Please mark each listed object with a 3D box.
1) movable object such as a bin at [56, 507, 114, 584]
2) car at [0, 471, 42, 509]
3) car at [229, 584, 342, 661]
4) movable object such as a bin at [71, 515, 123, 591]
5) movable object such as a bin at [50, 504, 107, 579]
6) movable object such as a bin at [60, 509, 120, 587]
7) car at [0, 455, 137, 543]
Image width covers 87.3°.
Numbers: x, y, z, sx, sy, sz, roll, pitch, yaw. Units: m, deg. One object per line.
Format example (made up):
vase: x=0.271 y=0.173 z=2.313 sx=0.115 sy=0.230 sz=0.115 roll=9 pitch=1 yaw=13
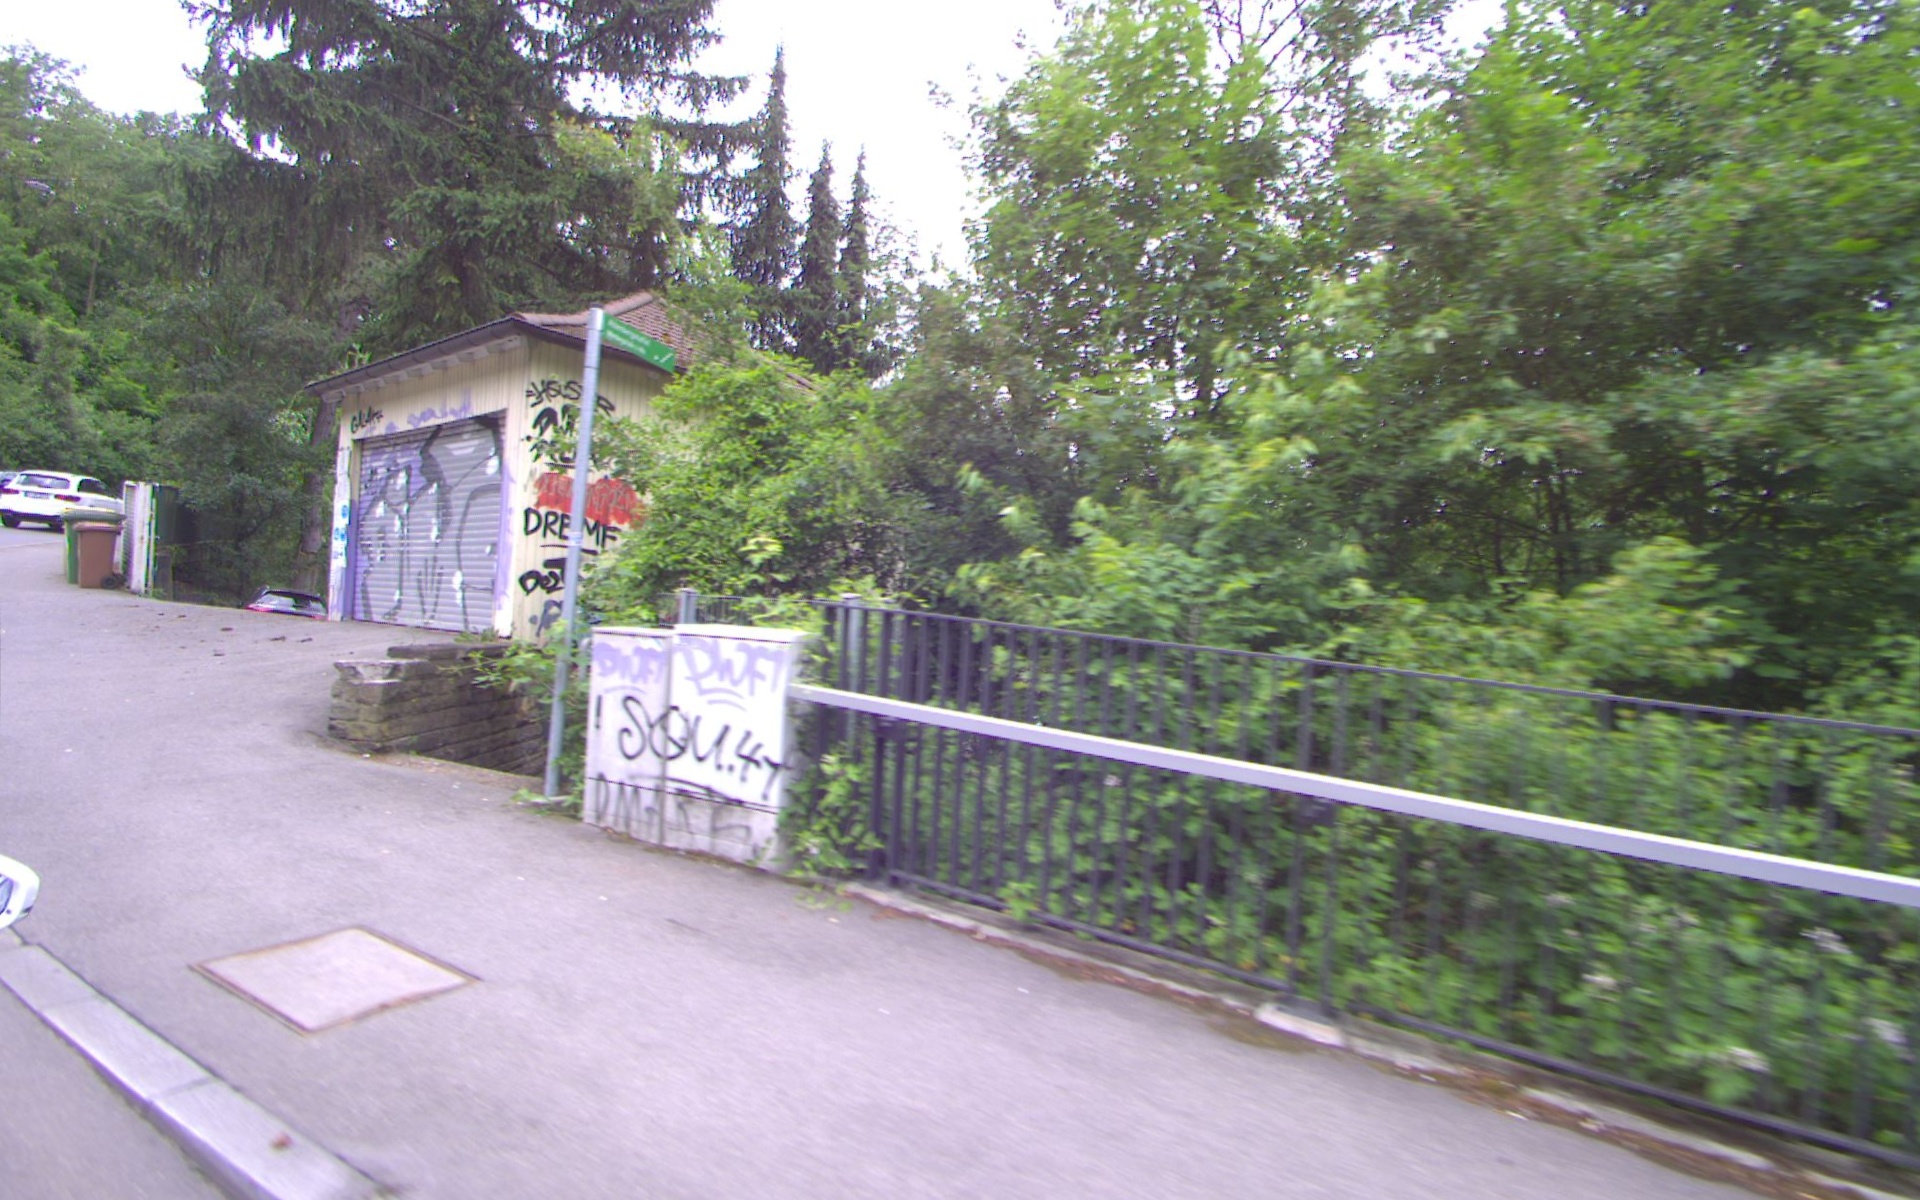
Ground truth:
movable object such as a bin: x=-13.201 y=-0.818 z=15.179 sx=0.473 sy=1.075 sz=0.601 roll=10 pitch=6 yaw=42
car: x=-43.469 y=-5.083 z=44.967 sx=1.885 sy=1.504 sz=3.986 roll=7 pitch=0 yaw=-16
car: x=-15.330 y=0.518 z=22.791 sx=1.719 sy=1.414 sz=3.964 roll=9 pitch=-6 yaw=-37
movable object such as a bin: x=-12.398 y=-0.676 z=14.451 sx=0.434 sy=1.023 sz=0.498 roll=10 pitch=6 yaw=42
movable object such as a bin: x=-13.605 y=-0.901 z=15.524 sx=0.473 sy=1.075 sz=0.601 roll=10 pitch=6 yaw=42
movable object such as a bin: x=-12.791 y=-0.757 z=14.790 sx=0.473 sy=1.075 sz=0.601 roll=10 pitch=6 yaw=42
car: x=-25.662 y=-2.819 z=28.861 sx=1.975 sy=1.864 sz=4.129 roll=8 pitch=-3 yaw=-24
